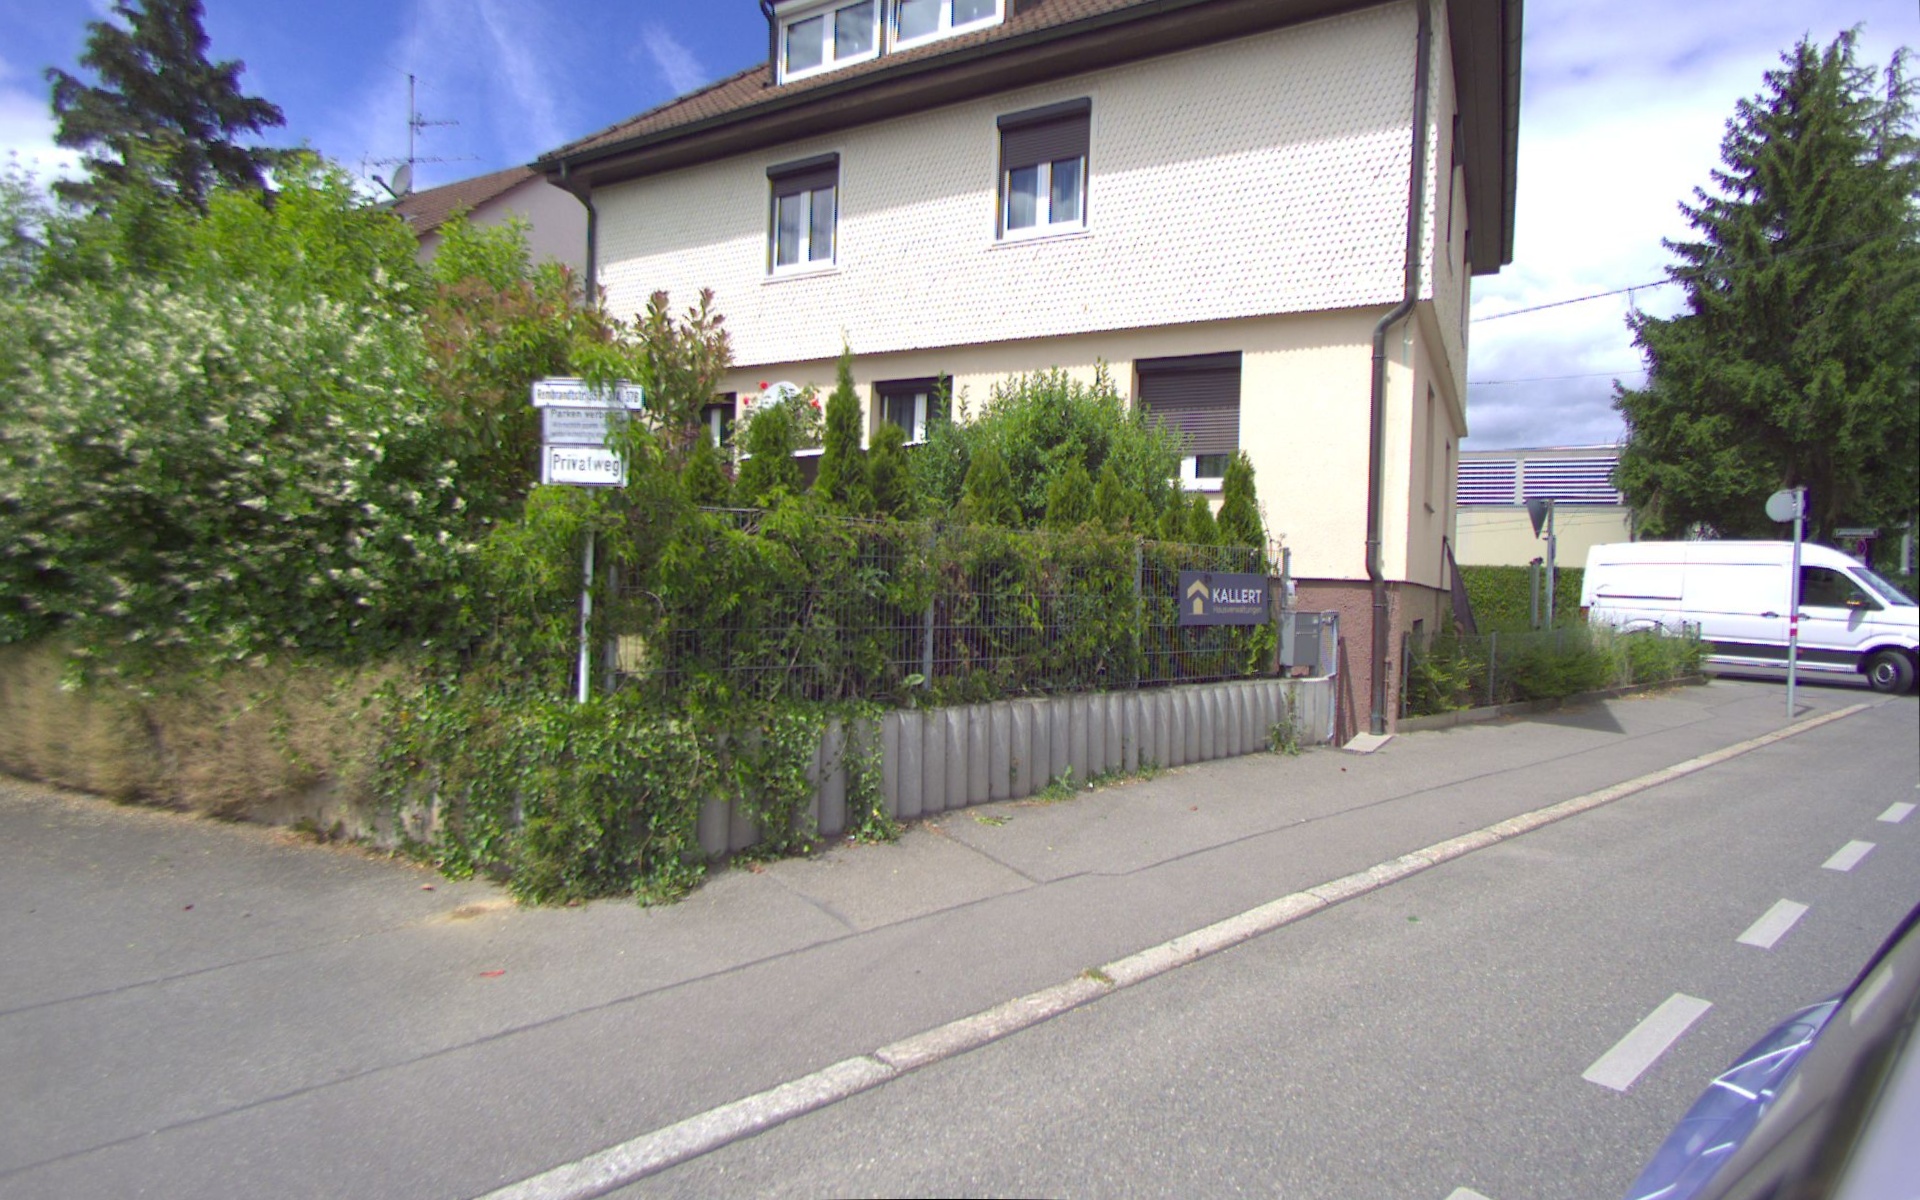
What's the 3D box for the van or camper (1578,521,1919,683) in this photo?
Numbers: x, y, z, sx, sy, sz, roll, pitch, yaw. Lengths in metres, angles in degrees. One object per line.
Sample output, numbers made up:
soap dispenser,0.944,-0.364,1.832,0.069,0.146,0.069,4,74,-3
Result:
van or camper,15.037,0.027,18.643,1.993,2.613,5.922,2,0,-35
